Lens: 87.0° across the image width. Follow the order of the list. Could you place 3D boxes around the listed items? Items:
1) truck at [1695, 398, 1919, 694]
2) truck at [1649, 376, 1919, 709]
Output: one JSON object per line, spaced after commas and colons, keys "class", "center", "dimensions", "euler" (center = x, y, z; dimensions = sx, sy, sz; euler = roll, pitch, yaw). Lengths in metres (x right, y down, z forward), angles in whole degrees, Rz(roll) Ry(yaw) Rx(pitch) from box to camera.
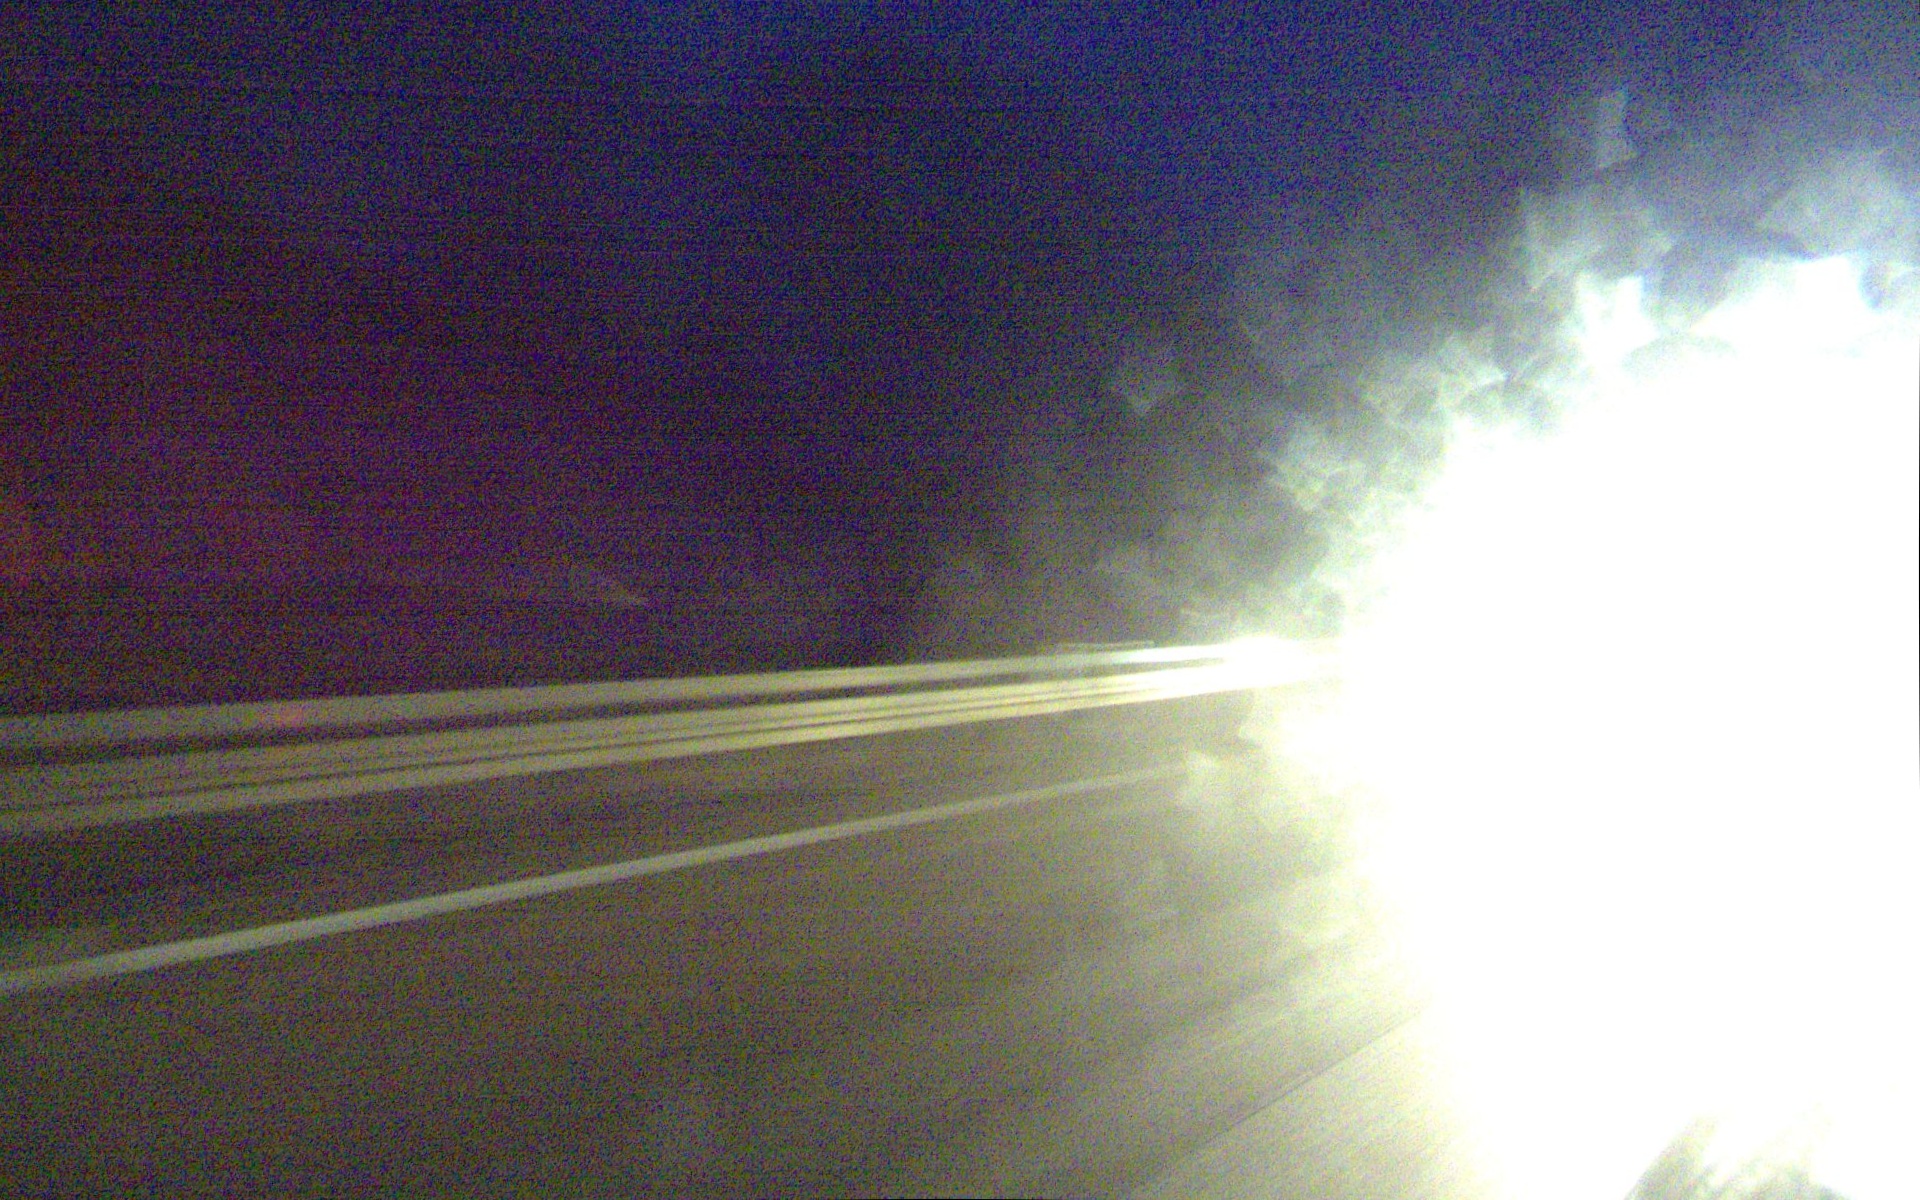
{"class": "truck", "center": [17.955, -0.844, 20.012], "dimensions": [13.403, 4.301, 2.501], "euler": [-1, 0, -41]}
{"class": "truck", "center": [13.242, -0.772, 15.945], "dimensions": [5.877, 4.301, 2.501], "euler": [0, 0, -41]}
